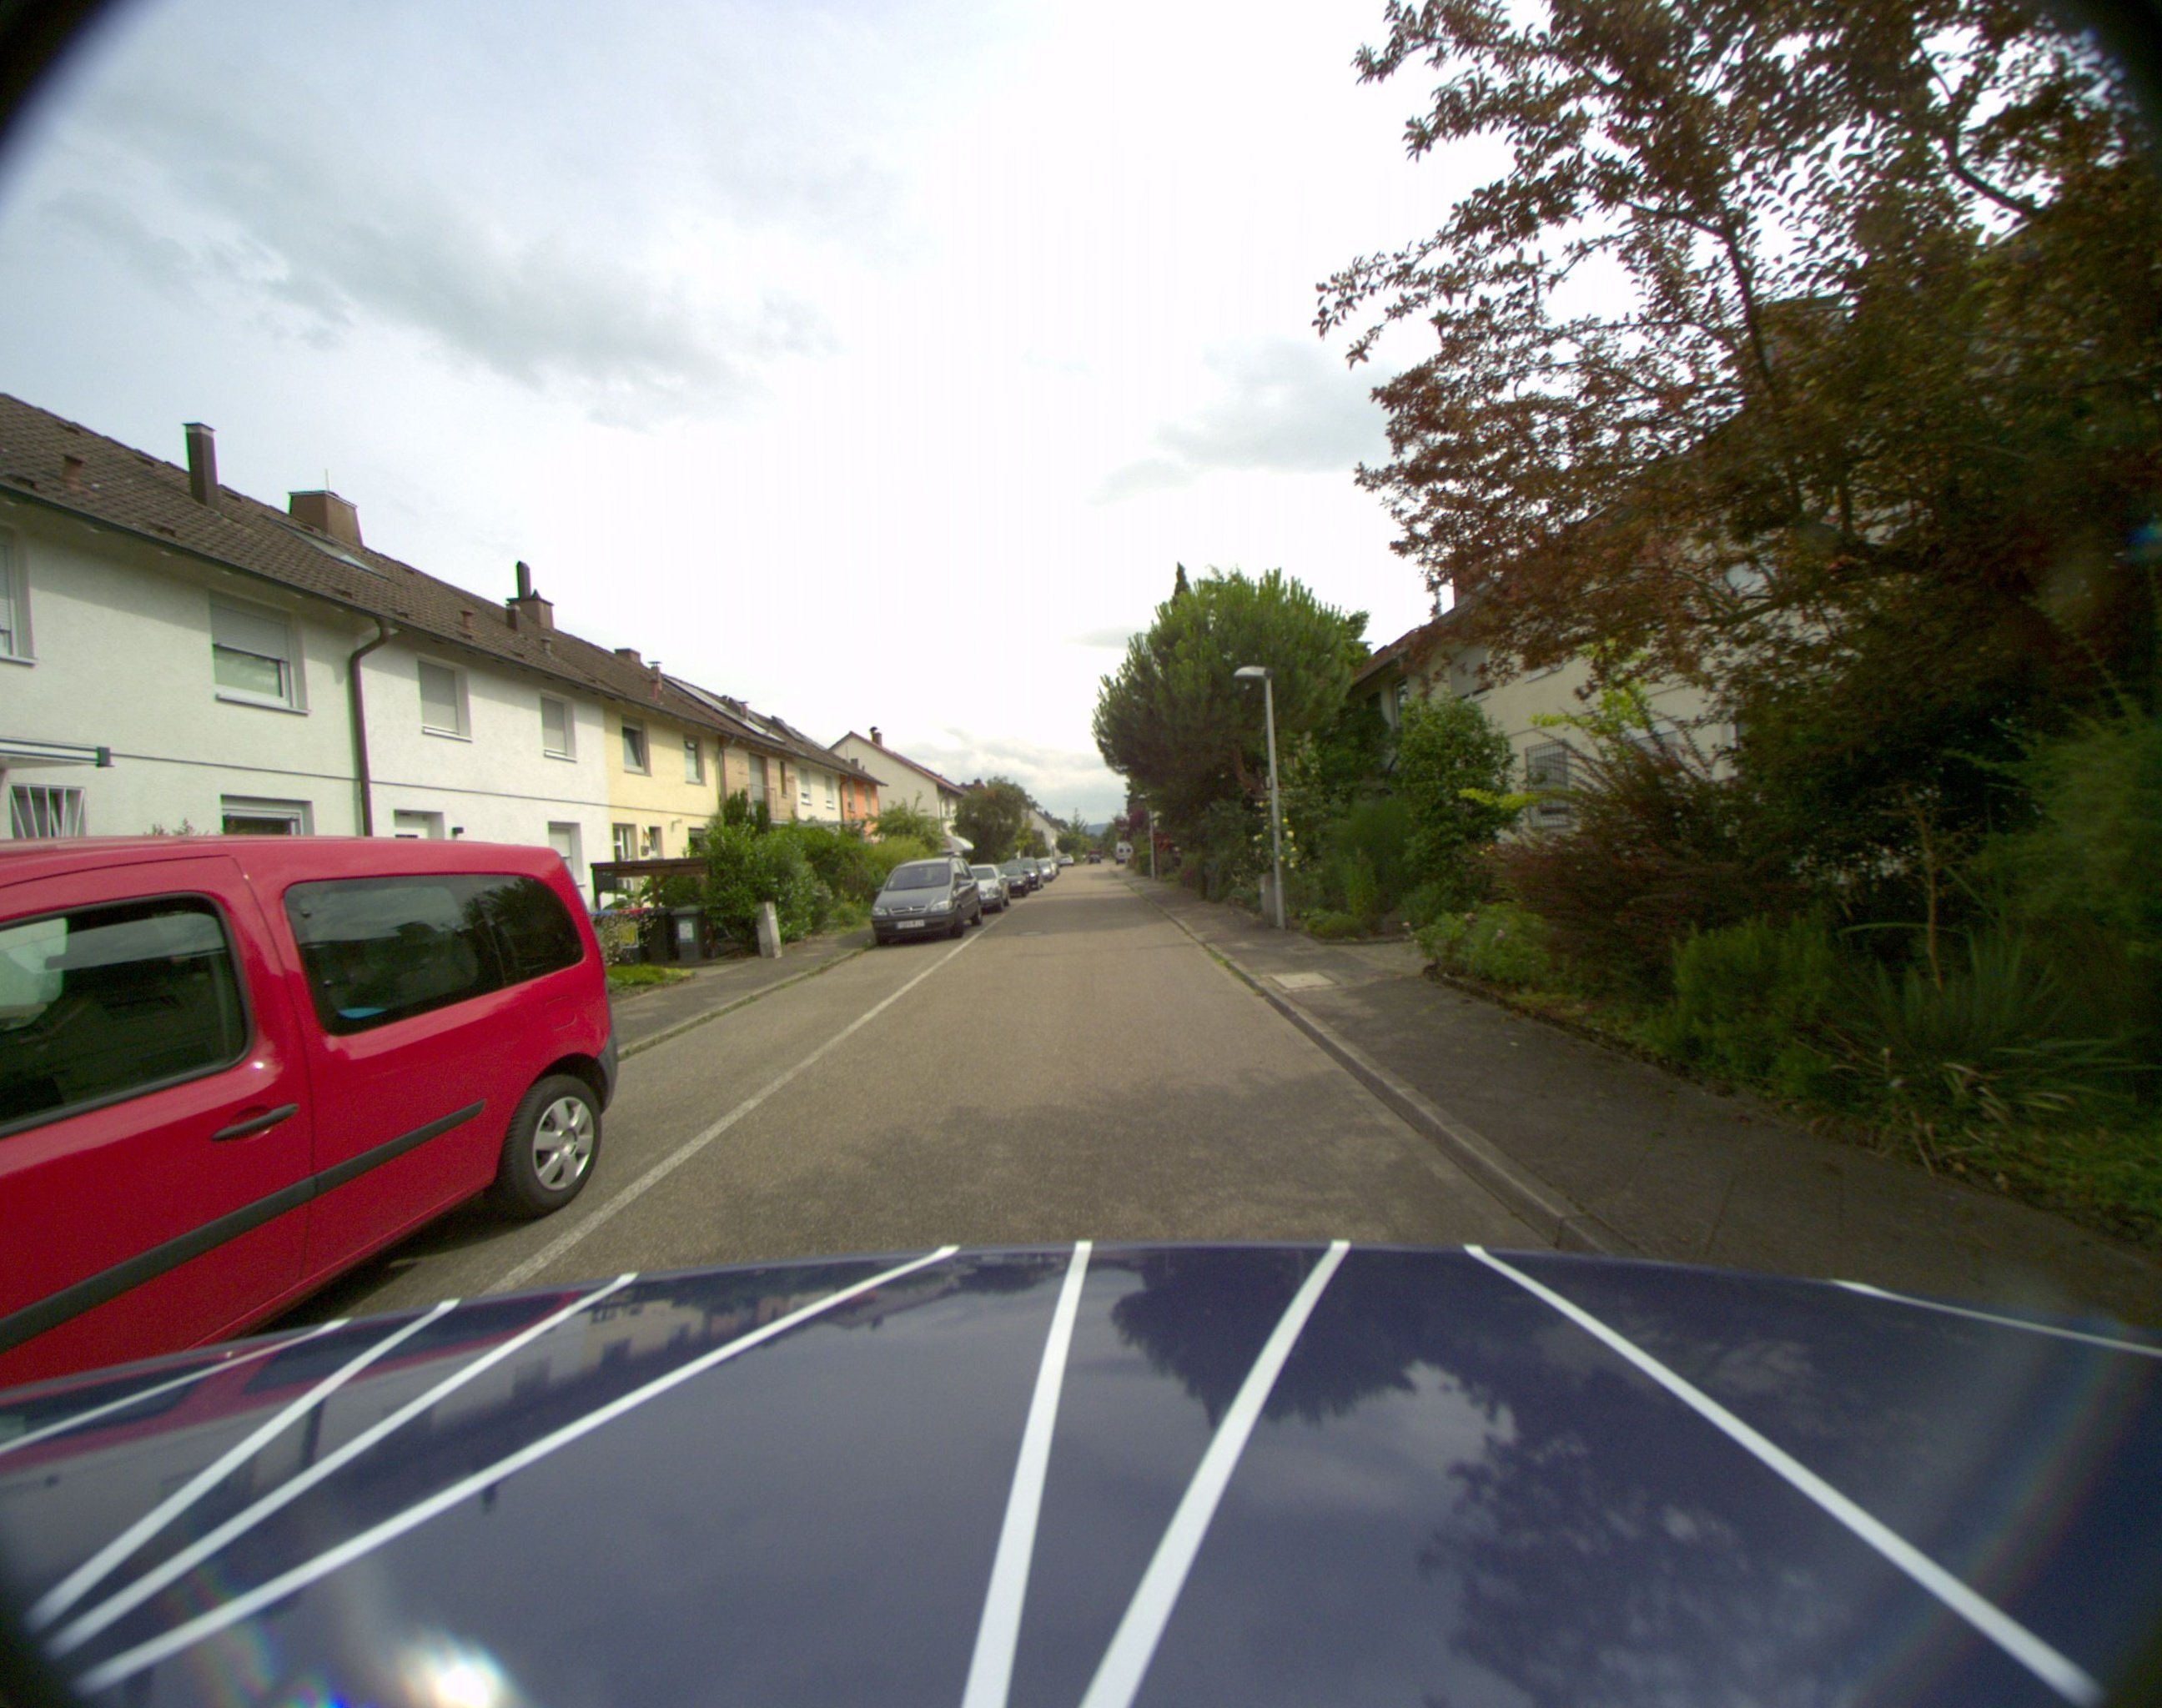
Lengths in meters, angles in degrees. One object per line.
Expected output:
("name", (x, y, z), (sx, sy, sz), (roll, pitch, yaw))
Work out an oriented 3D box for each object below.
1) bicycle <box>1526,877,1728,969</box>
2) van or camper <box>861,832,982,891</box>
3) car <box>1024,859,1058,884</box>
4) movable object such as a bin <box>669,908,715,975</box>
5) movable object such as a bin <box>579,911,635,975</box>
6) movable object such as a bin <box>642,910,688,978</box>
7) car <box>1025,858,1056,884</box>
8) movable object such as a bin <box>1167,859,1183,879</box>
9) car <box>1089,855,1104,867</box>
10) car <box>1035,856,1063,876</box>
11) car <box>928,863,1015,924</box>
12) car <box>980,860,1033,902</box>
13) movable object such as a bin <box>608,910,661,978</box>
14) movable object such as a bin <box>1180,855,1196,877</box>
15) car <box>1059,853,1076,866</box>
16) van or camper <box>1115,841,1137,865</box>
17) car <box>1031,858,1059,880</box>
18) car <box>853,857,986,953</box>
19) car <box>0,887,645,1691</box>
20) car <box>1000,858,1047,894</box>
("bicycle", (5.903, 0.728, 8.284), (1.698, 0.887, 0.530), (-4, 0, 42))
("van or camper", (-8.587, 0.397, 41.230), (5.811, 2.801, 2.538), (-3, 0, 6))
("car", (-2.508, 1.079, 48.549), (1.746, 1.462, 4.217), (-3, 0, 2))
("movable object such as a bin", (-6.688, 1.490, 13.086), (0.405, 1.027, 0.790), (-4, 0, -8))
("movable object such as a bin", (-8.145, 1.516, 13.075), (0.426, 0.982, 0.887), (-3, 0, -6))
("movable object such as a bin", (-7.150, 1.537, 13.097), (0.371, 1.060, 0.851), (-3, 0, -8))
("car", (-2.523, 1.069, 48.502), (1.707, 1.434, 4.220), (-5, 0, -1))
("movable object such as a bin", (5.096, 0.797, 41.275), (0.705, 1.065, 0.822), (-2, 0, 0))
("car", (2.420, 1.024, 118.755), (1.998, 1.696, 4.001), (-3, 0, 4))
("car", (-2.525, 0.915, 60.786), (1.872, 1.431, 4.851), (-4, 0, 2))
("car", (-3.128, 1.085, 22.661), (1.872, 1.399, 4.767), (-5, 0, -1))
("car", (-2.928, 1.024, 30.525), (1.737, 1.419, 4.125), (-4, 0, -1))
("movable object such as a bin", (-7.669, 1.532, 13.082), (0.418, 1.045, 0.887), (-2, 0, -6))
("movable object such as a bin", (5.804, 0.637, 41.286), (0.705, 1.123, 0.877), (-2, 0, 0))
("car", (-1.802, 0.722, 101.312), (1.999, 1.589, 3.999), (-4, 0, -2))
("van or camper", (5.365, -0.135, 91.453), (2.346, 2.719, 5.748), (-4, 0, 2))
("car", (-2.531, 1.049, 54.097), (1.697, 1.357, 4.698), (-4, 0, 0))
("car", (-3.246, 0.938, 16.220), (1.872, 1.644, 4.463), (-3, 0, -1))
("car", (-3.316, 1.045, 2.050), (1.815, 1.641, 4.409), (-3, 0, -3))
("car", (-2.677, 0.989, 36.180), (1.753, 1.458, 4.647), (-4, 0, 1))
